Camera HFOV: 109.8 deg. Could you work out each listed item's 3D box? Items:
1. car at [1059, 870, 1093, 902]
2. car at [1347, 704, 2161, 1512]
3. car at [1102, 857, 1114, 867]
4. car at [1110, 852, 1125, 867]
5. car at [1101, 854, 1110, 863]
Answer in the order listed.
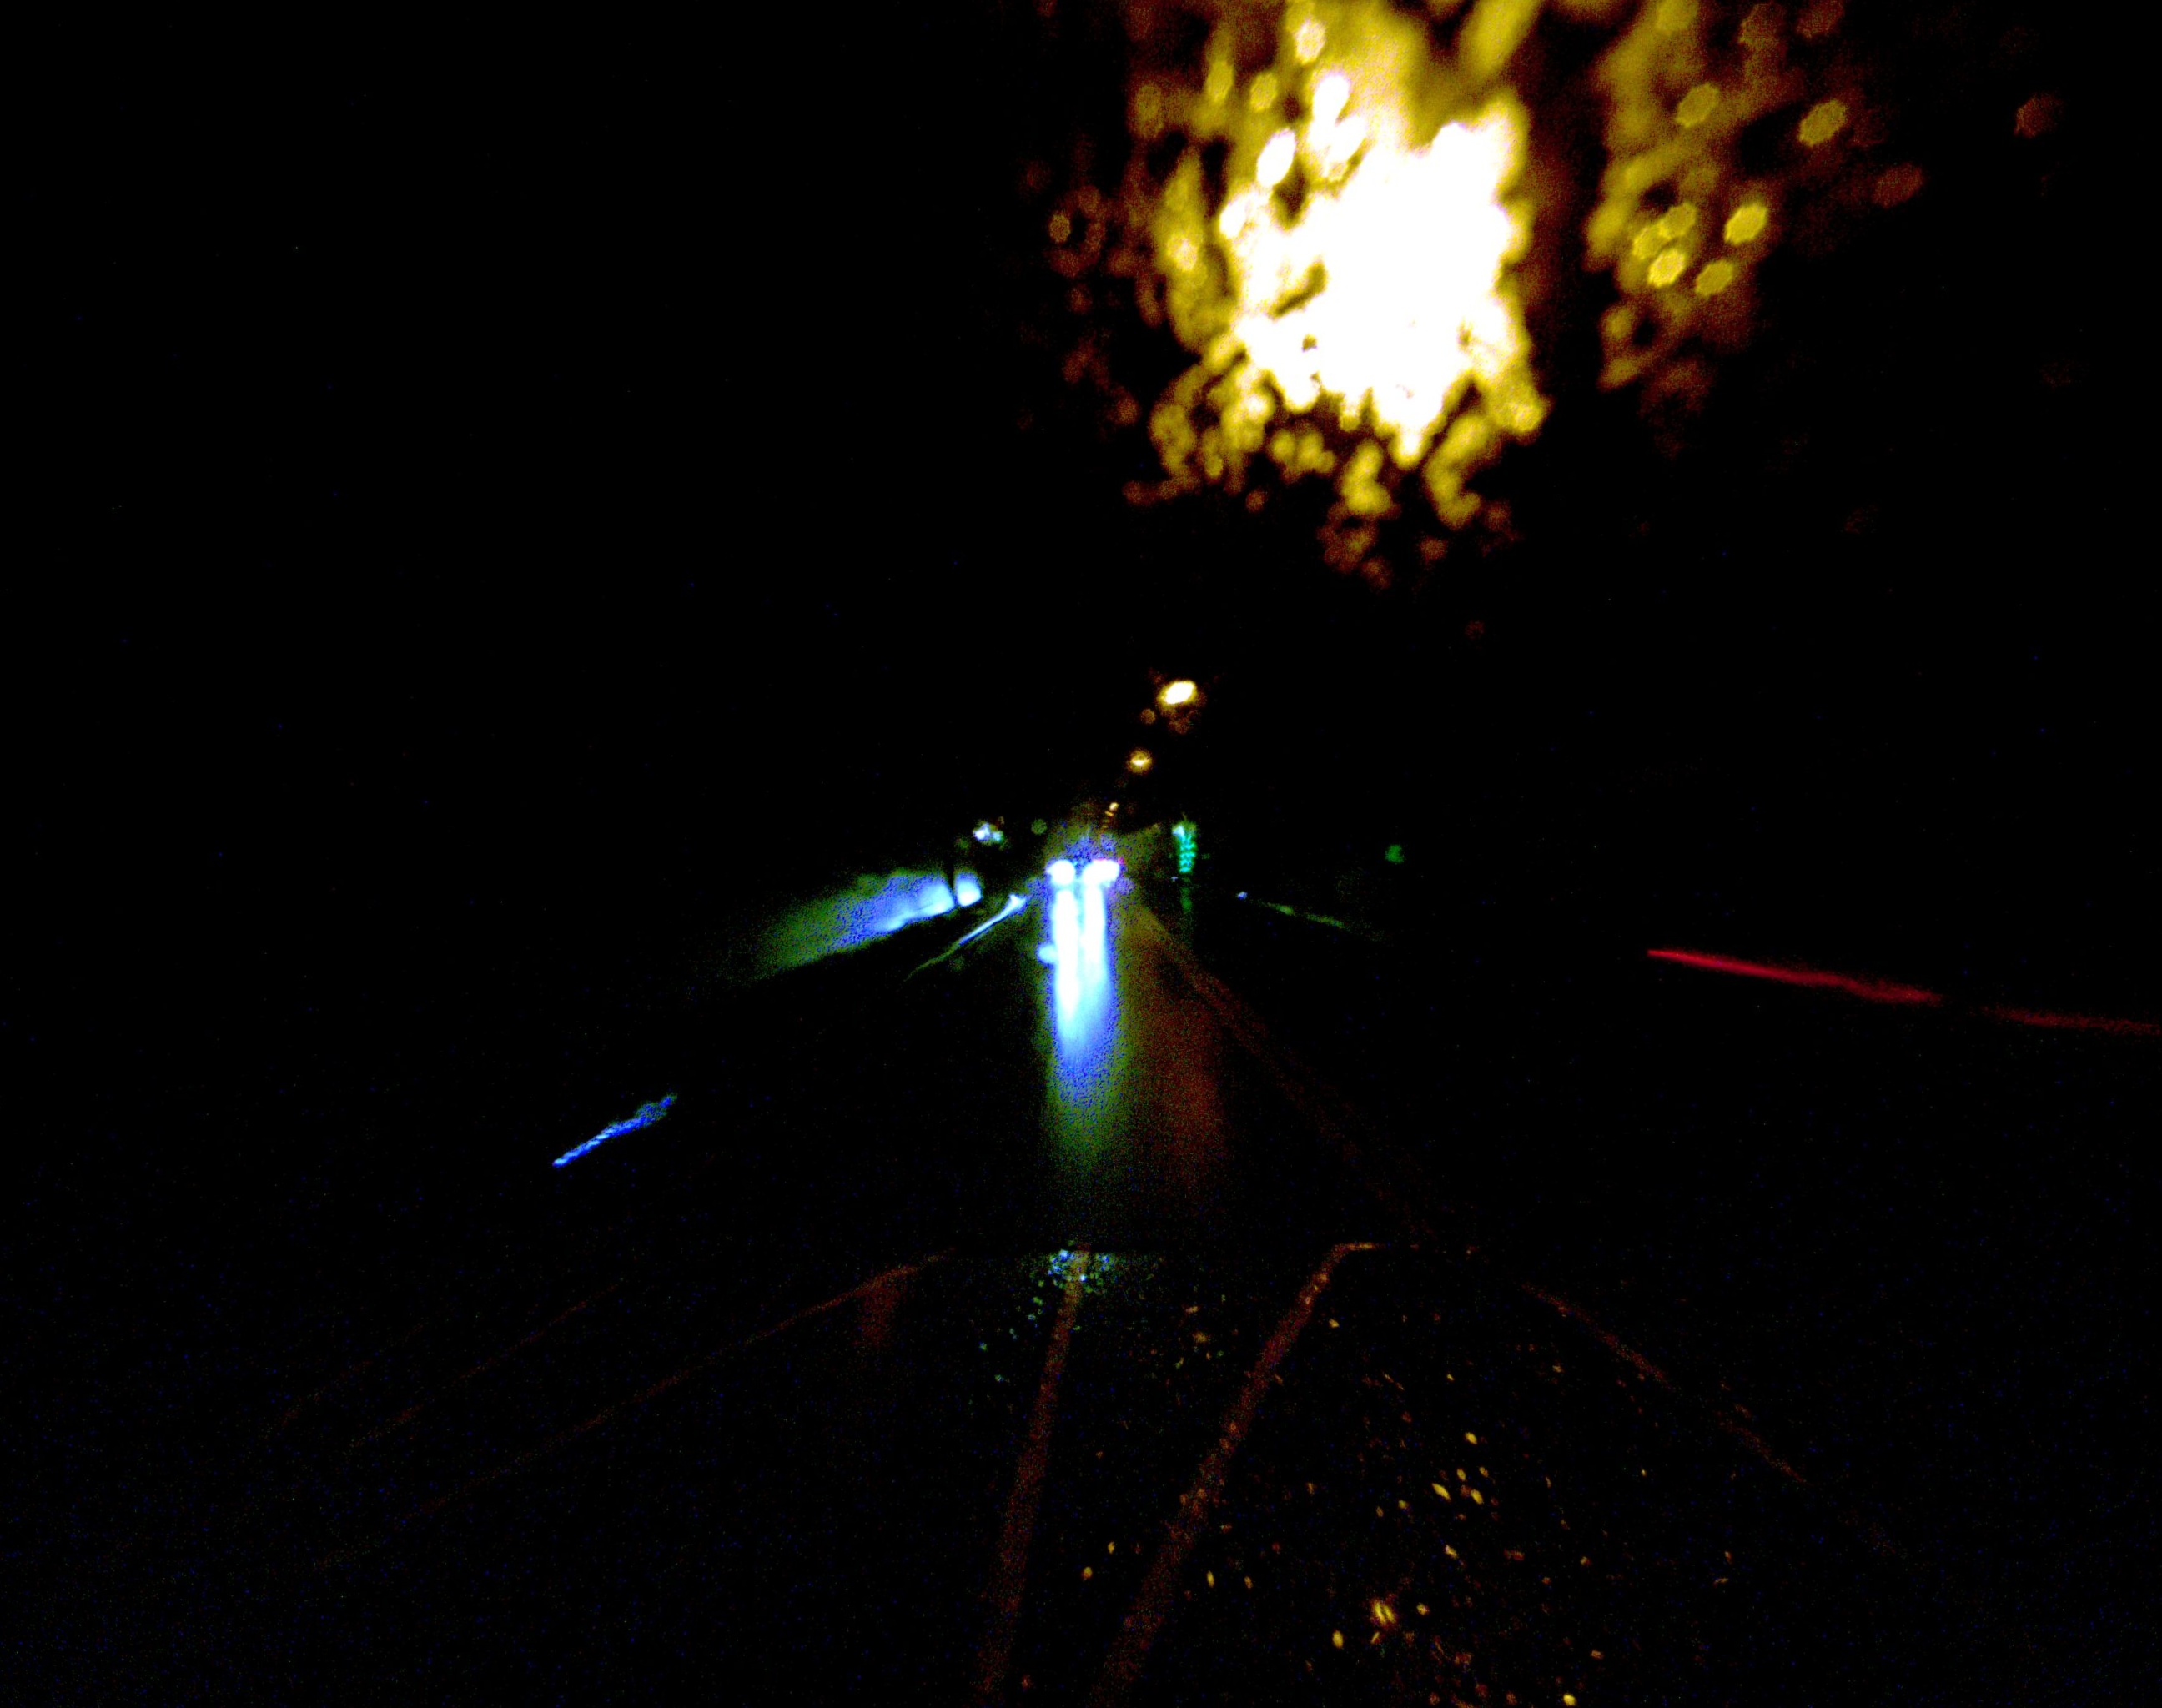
[{"bbox_3d":[-0.211,1.622,38.876,1.627,1.487,3.585,0,0,1],"label":"car"},{"bbox_3d":[3.116,0.598,4.065,1.845,1.888,4.608,0,0,1],"label":"car"},{"bbox_3d":[4.080,1.147,114.337,1.753,1.471,4.476,0,0,1],"label":"car"},{"bbox_3d":[3.997,0.605,82.745,1.524,1.540,4.055,0,-1,1],"label":"car"},{"bbox_3d":[4.826,0.881,151.200,1.701,1.666,4.127,0,0,1],"label":"car"}]
